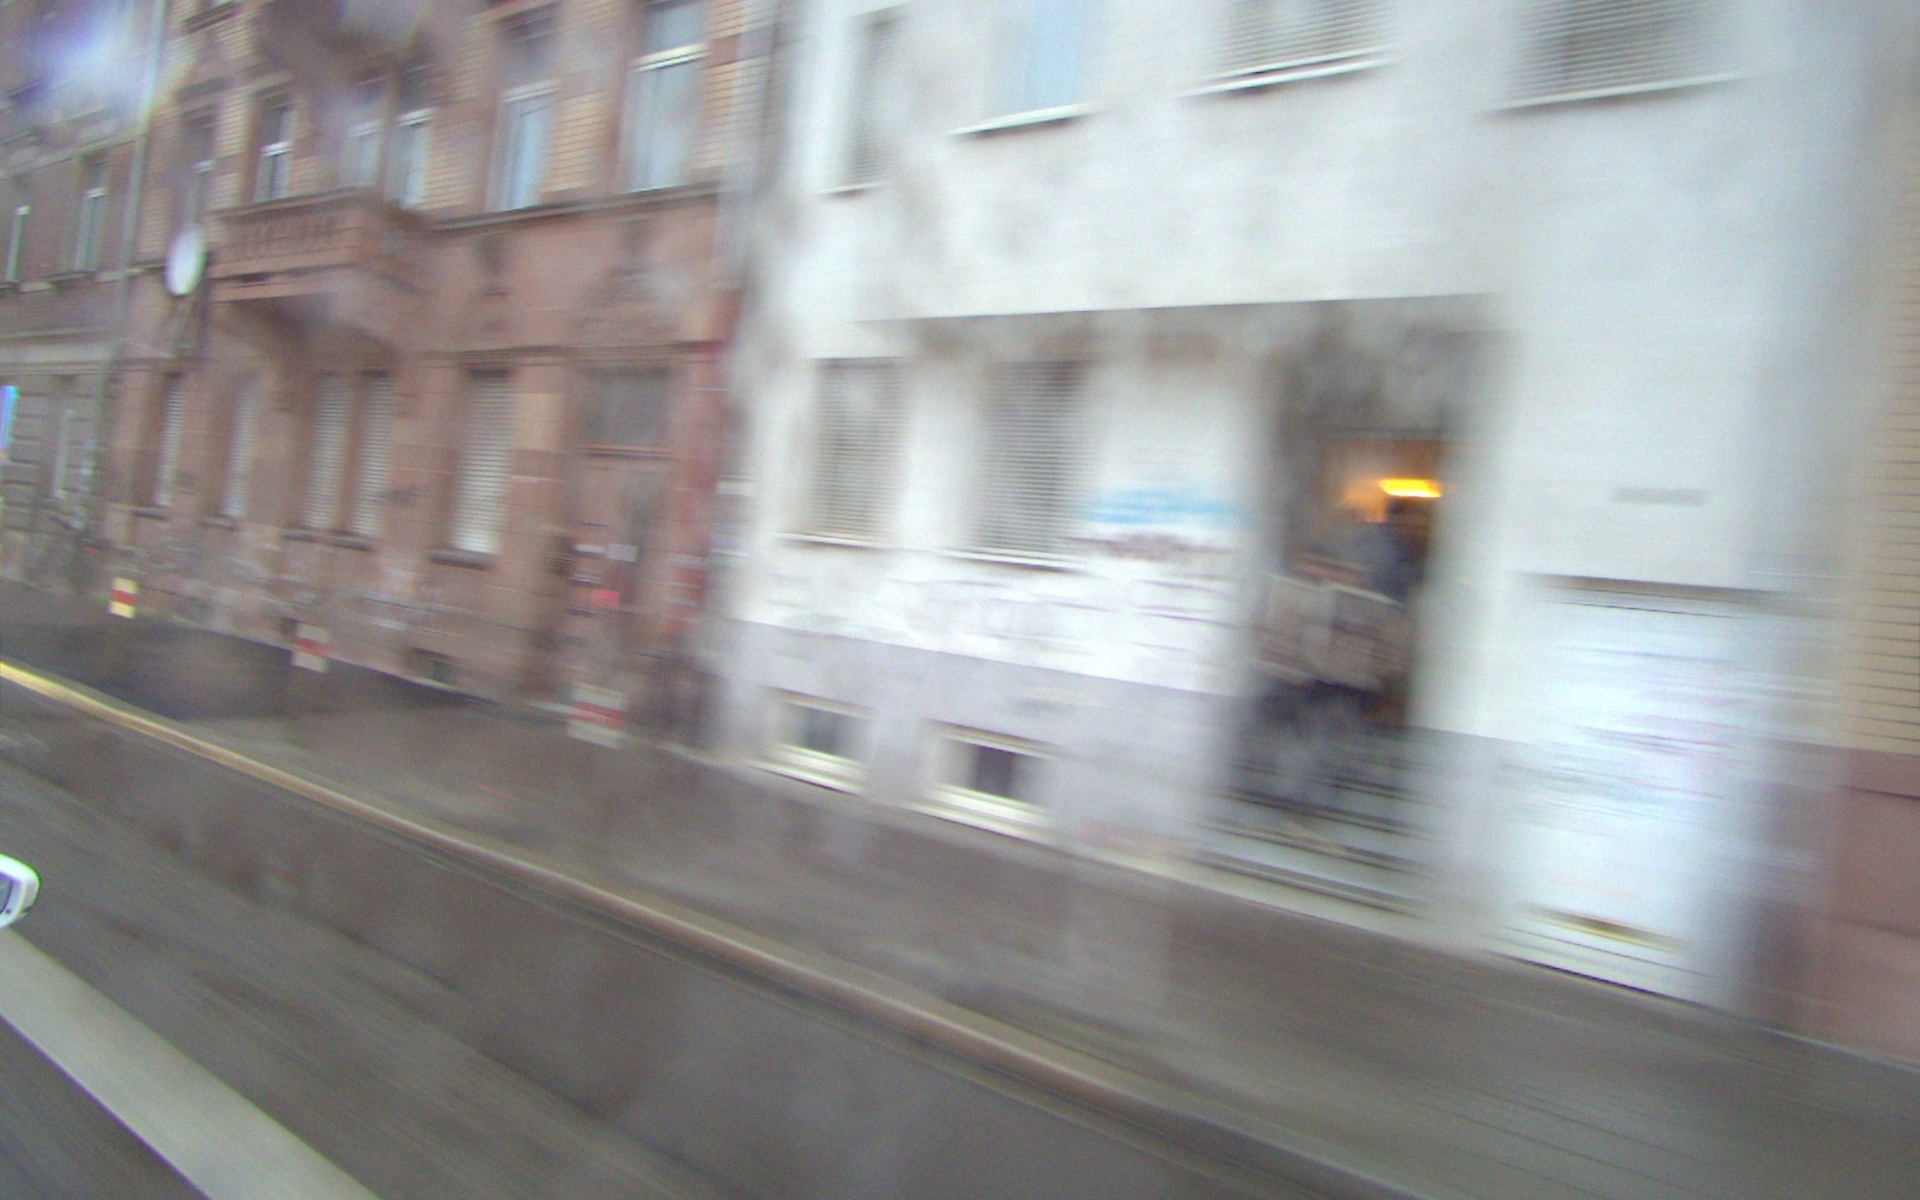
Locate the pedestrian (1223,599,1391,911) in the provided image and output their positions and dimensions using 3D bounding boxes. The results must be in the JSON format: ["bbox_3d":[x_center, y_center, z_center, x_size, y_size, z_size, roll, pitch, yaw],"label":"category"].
[{"bbox_3d":[2.208,0.932,6.368,0.662,1.766,0.777,7,1,31],"label":"pedestrian"}]

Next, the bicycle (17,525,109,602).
[{"bbox_3d":[-13.040,-0.544,14.607,1.835,0.922,0.398,7,0,31],"label":"bicycle"}]
